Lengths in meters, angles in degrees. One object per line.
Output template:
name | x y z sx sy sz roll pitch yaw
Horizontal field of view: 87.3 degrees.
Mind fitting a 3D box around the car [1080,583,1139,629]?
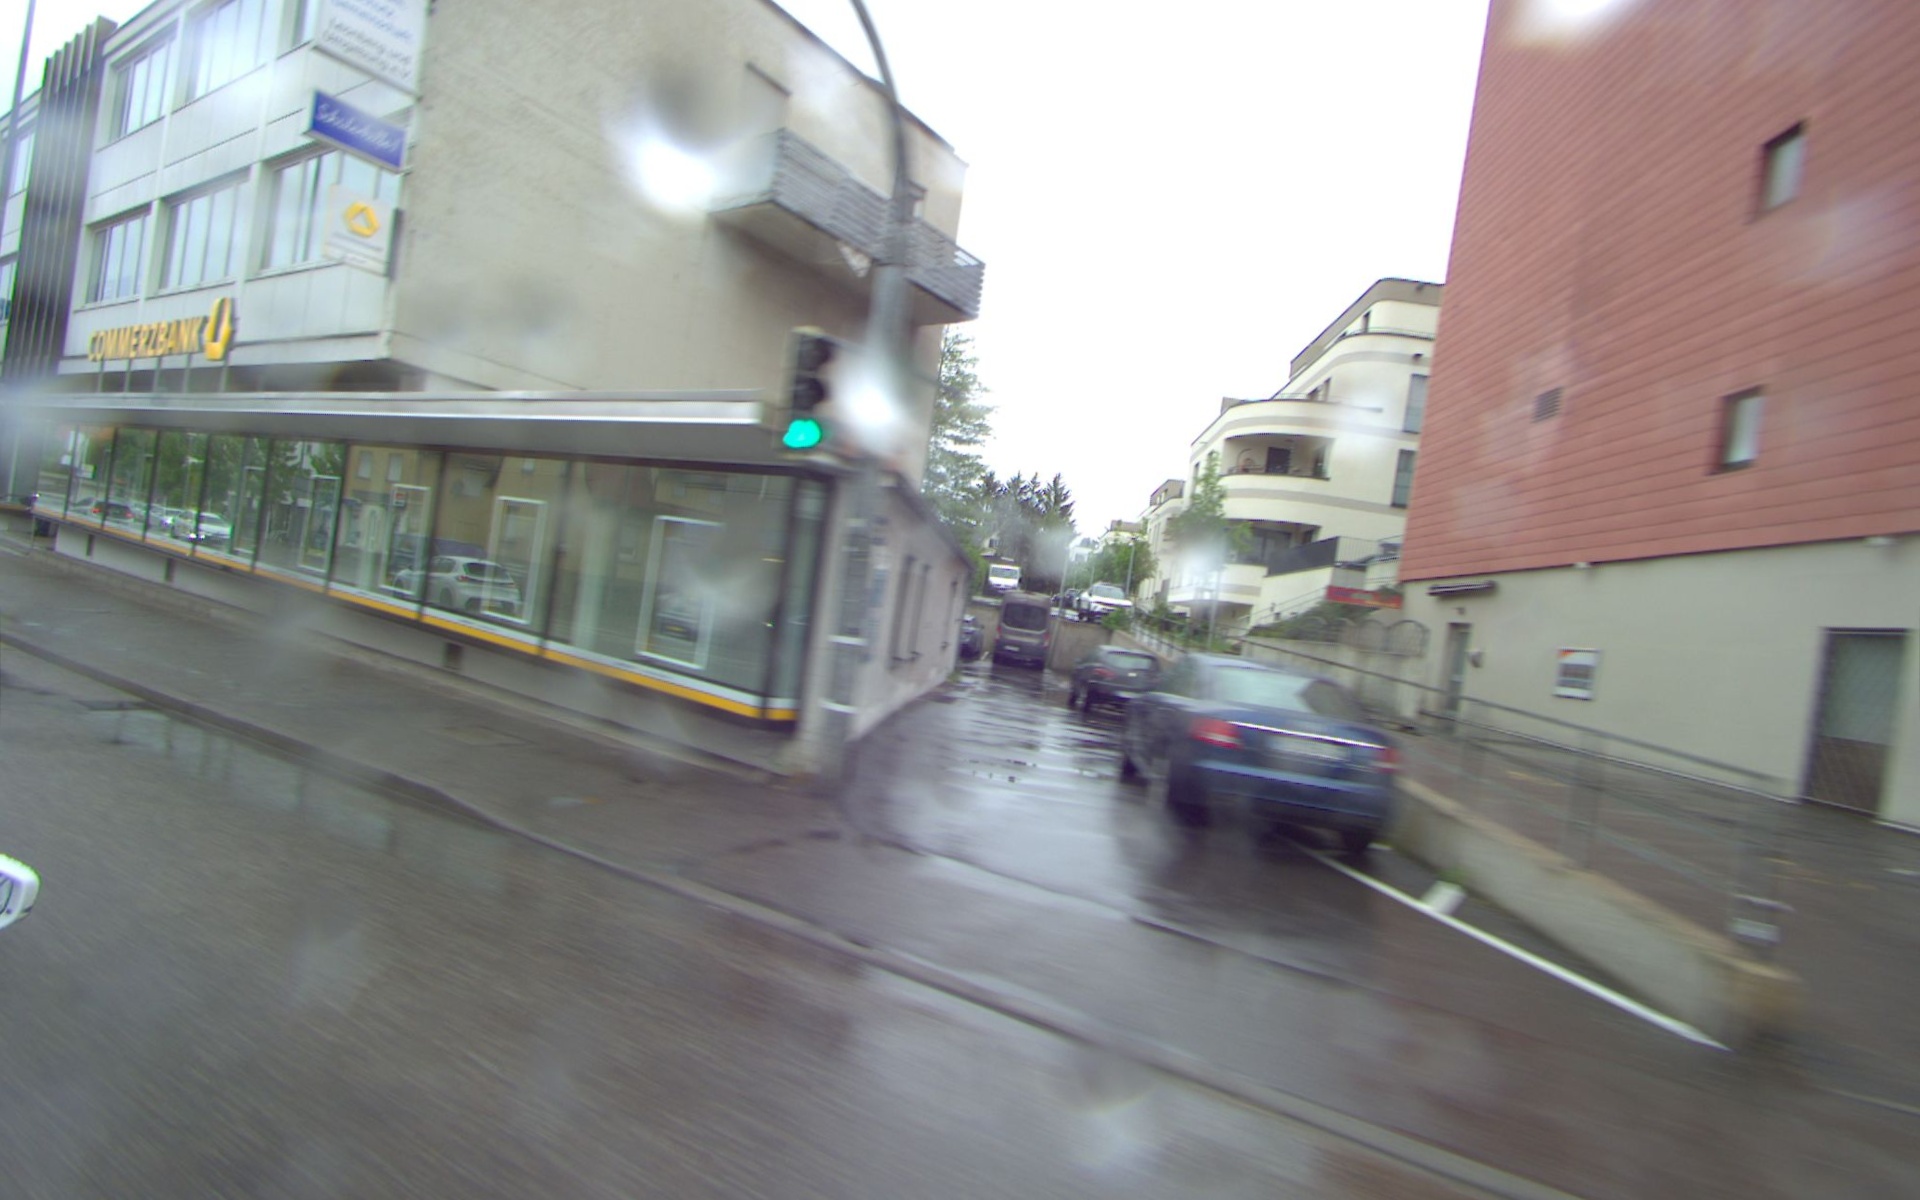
car | 6.013 0.289 40.855 1.841 1.577 3.762 6 -1 3

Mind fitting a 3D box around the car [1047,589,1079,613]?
car | 7.965 0.090 78.046 1.963 1.602 3.592 6 -1 1

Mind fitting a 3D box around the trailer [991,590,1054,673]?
trailer | 2.388 1.201 38.713 1.954 2.727 5.328 7 -1 3

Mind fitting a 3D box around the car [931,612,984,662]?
car | -0.045 1.441 39.365 1.674 1.687 3.721 6 -1 4

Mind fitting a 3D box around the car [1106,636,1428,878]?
car | 2.533 1.214 9.482 1.704 1.428 4.400 7 0 3

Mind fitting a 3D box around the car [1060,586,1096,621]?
car | 7.166 0.239 61.374 1.710 1.822 3.658 6 -1 2

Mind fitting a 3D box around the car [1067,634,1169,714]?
car | 3.260 1.502 21.273 1.556 1.358 3.465 6 -1 2

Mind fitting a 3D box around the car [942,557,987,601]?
car | 0.336 -1.270 63.722 2.090 2.316 4.850 6 -1 6

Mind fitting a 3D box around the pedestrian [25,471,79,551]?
pedestrian | -22.063 -2.161 24.432 0.940 1.802 0.728 8 0 43

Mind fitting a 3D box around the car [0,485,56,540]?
car | -30.278 -2.836 31.159 3.278 1.522 1.354 7 2 0

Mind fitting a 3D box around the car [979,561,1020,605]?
car | 2.576 -1.043 64.405 2.090 2.316 4.850 6 -1 6
